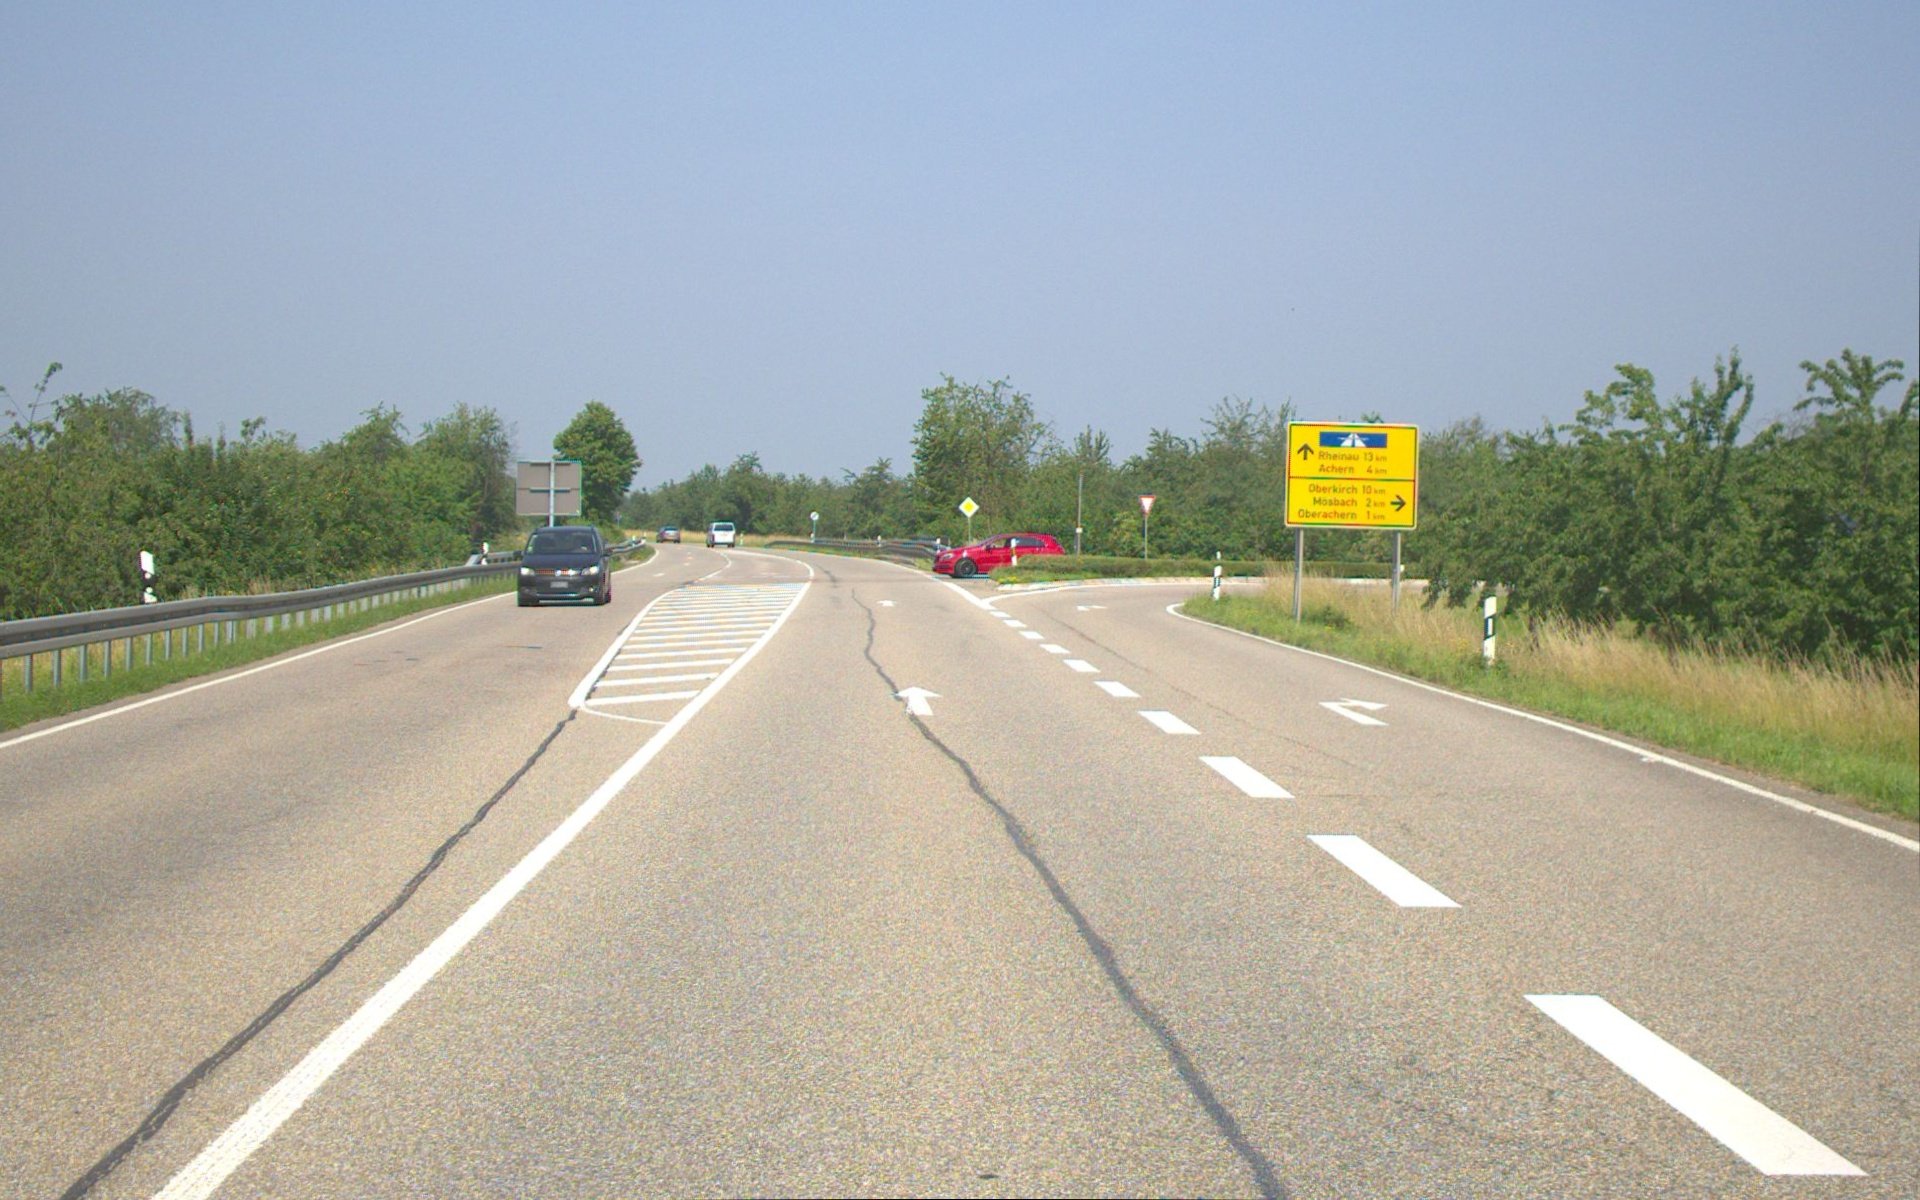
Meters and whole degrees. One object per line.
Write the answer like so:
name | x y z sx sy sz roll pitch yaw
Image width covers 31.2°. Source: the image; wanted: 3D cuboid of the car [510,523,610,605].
car | -8.277 -0.749 71.494 1.803 1.632 4.810 0 1 -4

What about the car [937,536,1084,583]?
car | 1.596 -1.292 109.565 4.479 1.444 1.822 0 1 -6
